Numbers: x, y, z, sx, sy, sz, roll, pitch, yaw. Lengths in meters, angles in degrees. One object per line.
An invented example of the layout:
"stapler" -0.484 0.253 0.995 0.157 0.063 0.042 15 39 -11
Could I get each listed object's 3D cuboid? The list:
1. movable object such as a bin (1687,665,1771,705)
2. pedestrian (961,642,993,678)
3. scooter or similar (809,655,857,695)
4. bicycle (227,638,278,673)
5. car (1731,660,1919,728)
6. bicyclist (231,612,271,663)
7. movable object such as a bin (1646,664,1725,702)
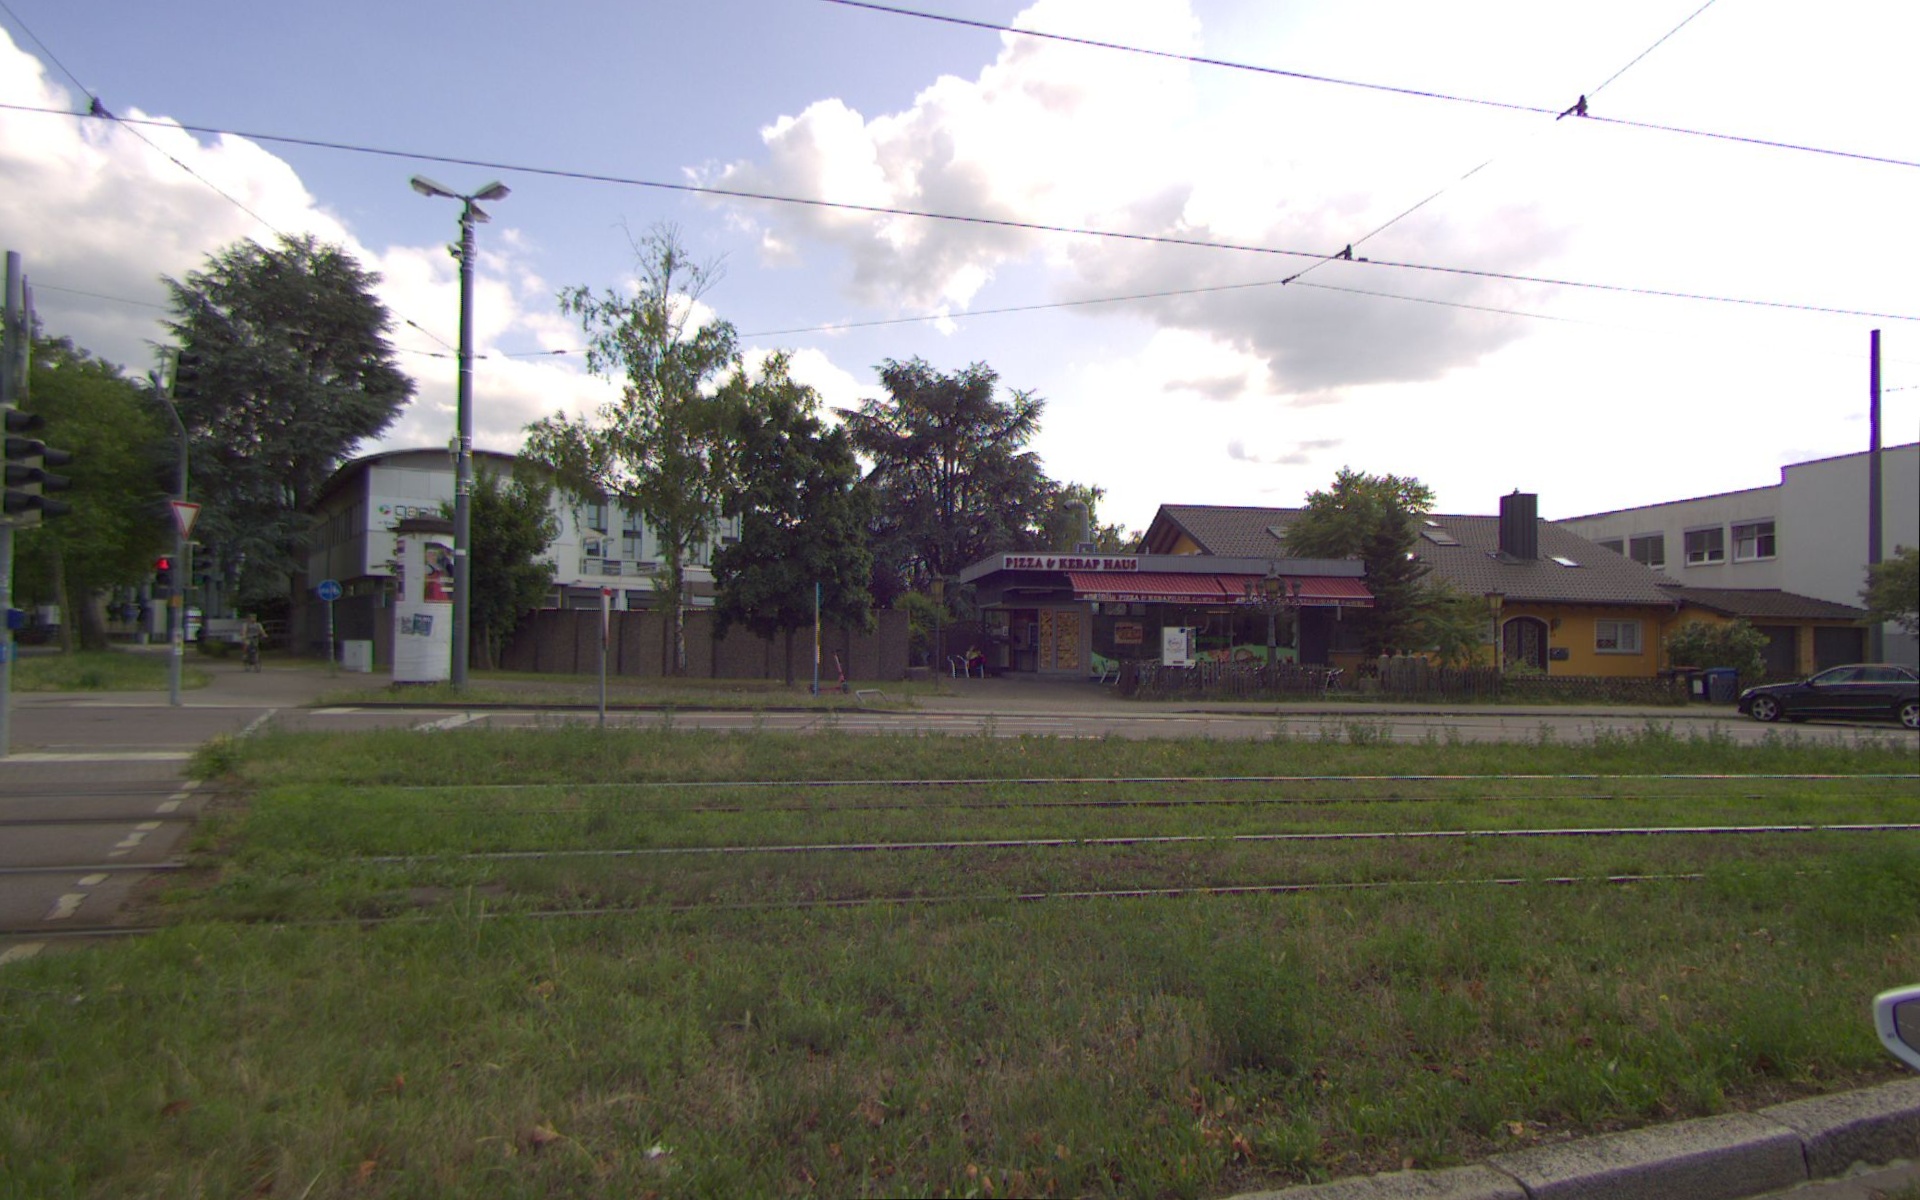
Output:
"movable object such as a bin" 23.087 2.541 30.186 1.588 1.115 1.257 1 -2 -9
"pedestrian" 0.542 1.992 33.366 0.914 1.161 1.156 1 -2 -6
"scooter or similar" -3.427 2.022 27.150 1.198 1.047 0.428 1 -2 2
"bicycle" -23.224 1.805 32.943 2.037 1.074 0.801 -1 -1 37
"car" 21.200 2.180 23.568 1.860 1.425 4.620 4 -4 -27
"bicyclist" -23.292 1.230 33.005 1.002 1.656 0.800 -1 -1 38
"movable object such as a bin" 22.825 2.606 31.631 1.588 1.107 1.257 1 -2 -9
